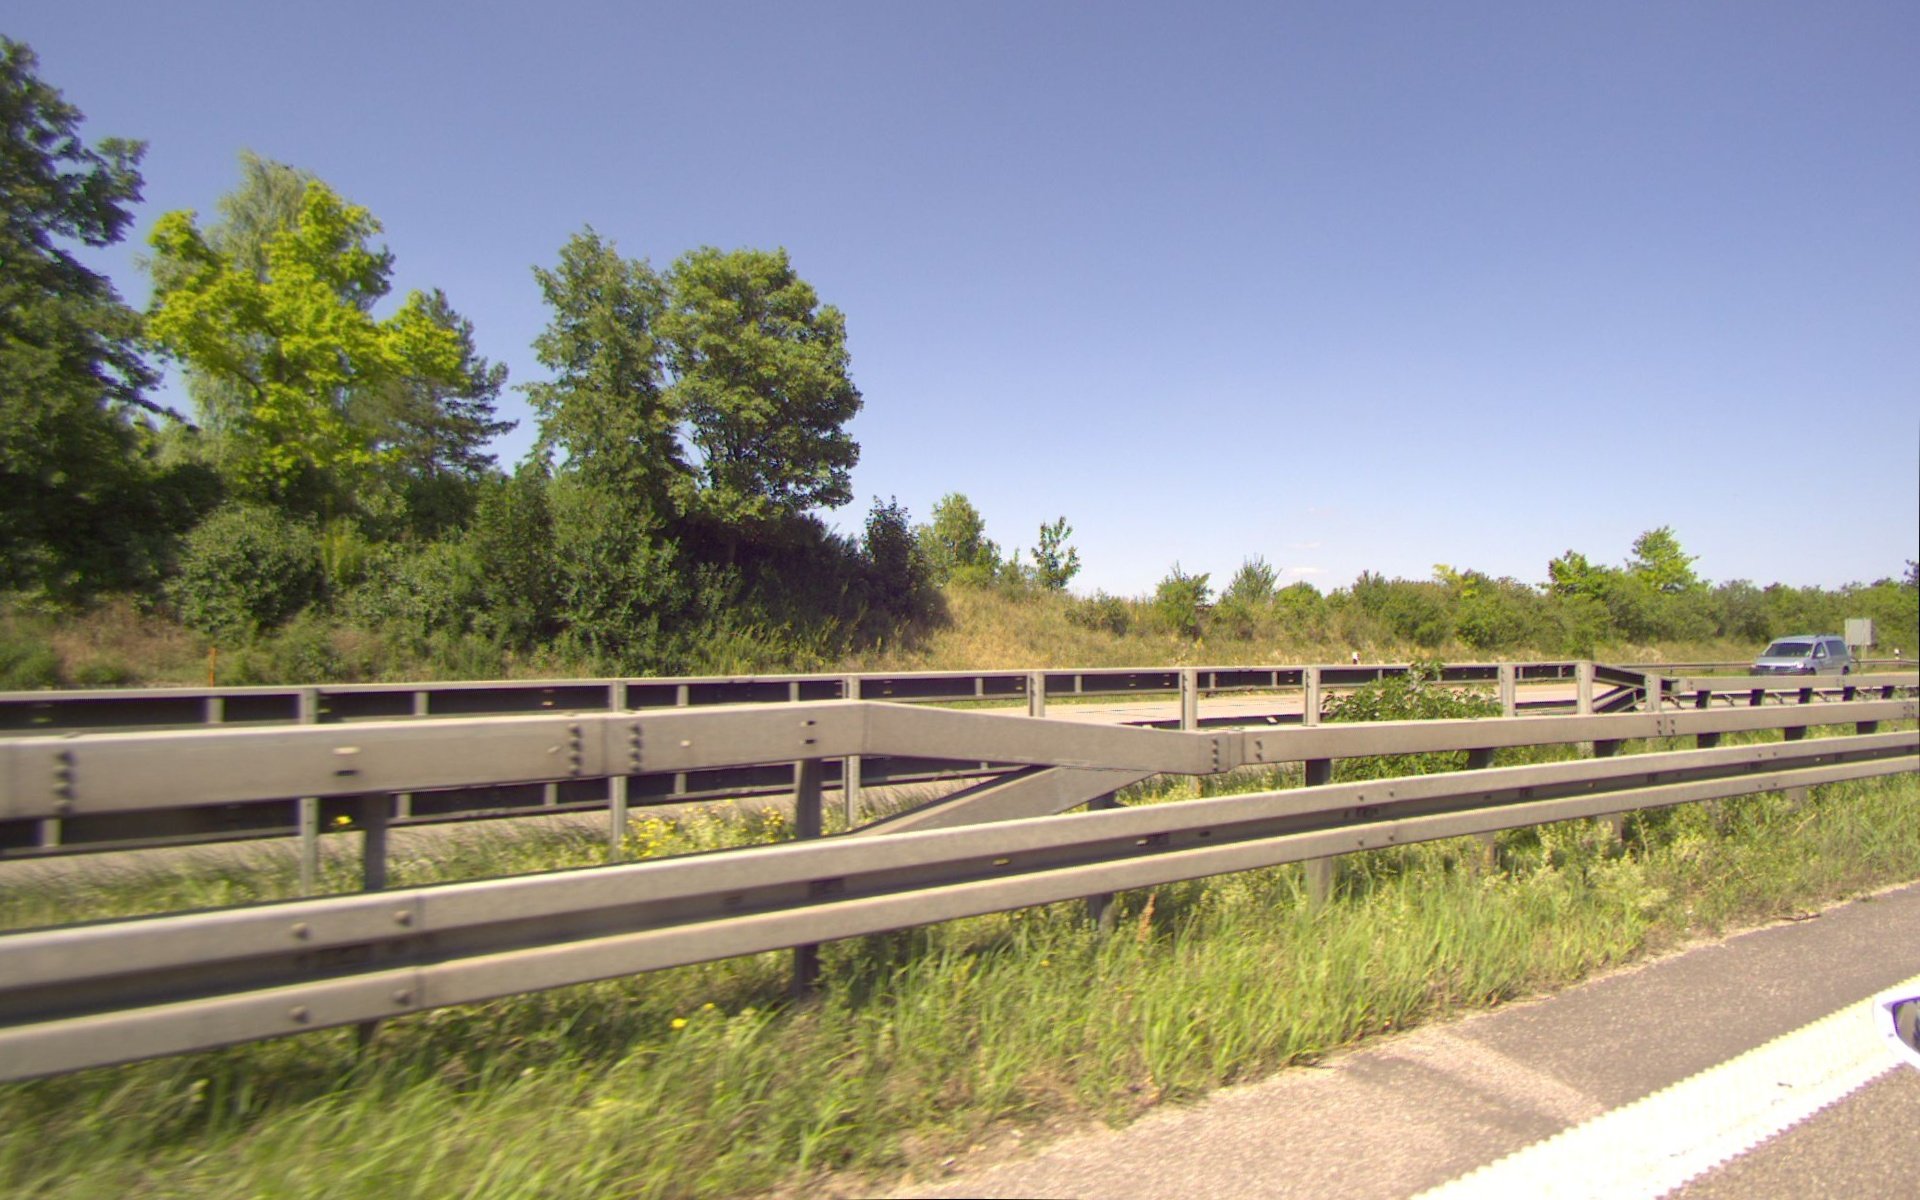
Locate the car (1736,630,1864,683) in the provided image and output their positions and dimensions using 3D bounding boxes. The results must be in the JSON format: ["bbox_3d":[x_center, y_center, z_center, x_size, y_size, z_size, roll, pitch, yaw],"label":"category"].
[{"bbox_3d":[31.025,2.070,37.062,5.273,1.859,1.984,1,-4,-31],"label":"car"}]
